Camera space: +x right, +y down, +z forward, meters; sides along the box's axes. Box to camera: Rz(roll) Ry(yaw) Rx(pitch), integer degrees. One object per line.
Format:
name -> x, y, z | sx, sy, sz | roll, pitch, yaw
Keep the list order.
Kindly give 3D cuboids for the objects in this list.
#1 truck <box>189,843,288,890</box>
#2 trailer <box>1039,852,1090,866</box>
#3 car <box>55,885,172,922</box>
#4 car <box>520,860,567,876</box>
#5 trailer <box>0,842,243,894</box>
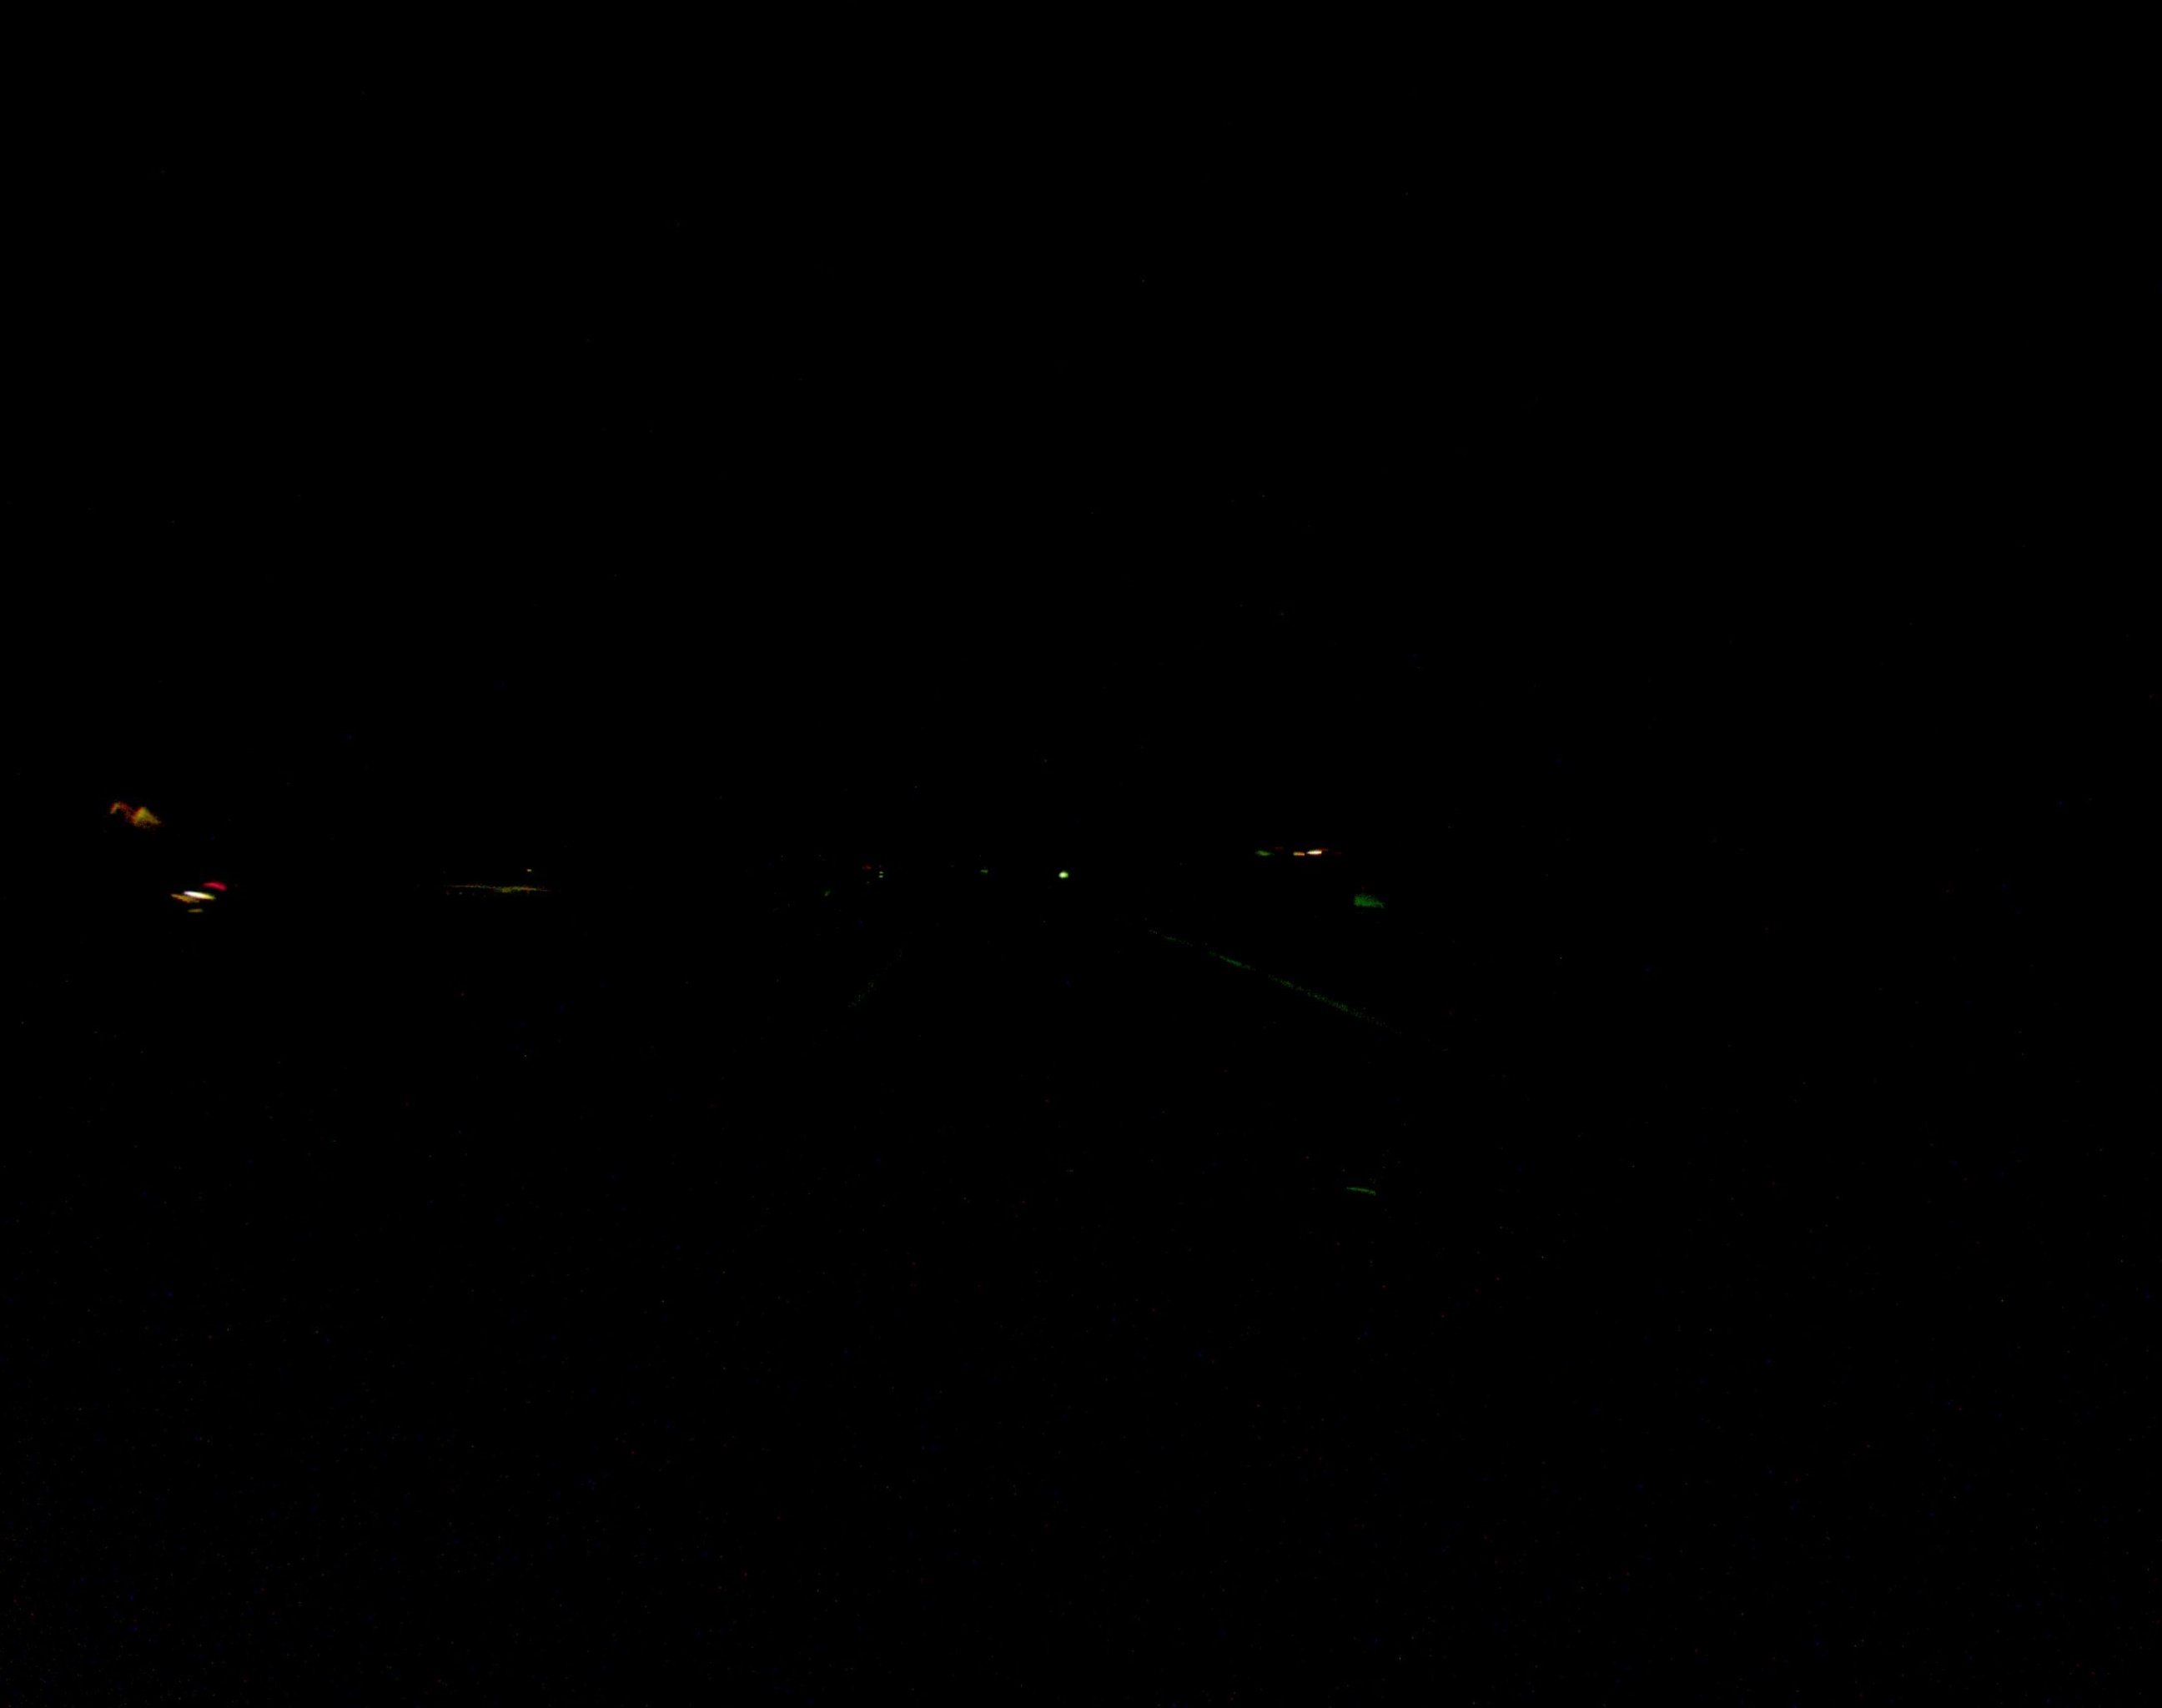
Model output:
truck -> -71.713, 1.039, 69.421 | 2.563, 3.711, 5.492 | 2, 0, 36
trailer -> -3.103, 0.976, 164.495 | 2.661, 2.699, 12.938 | 1, 0, 38
car -> -48.052, 2.451, 40.478 | 3.967, 1.640, 1.762 | 1, 0, 6
car -> -68.154, 1.752, 103.358 | 1.974, 2.013, 4.498 | 1, 0, 34
trailer -> -75.790, 0.991, 63.925 | 2.567, 3.725, 13.739 | 1, 1, 37
